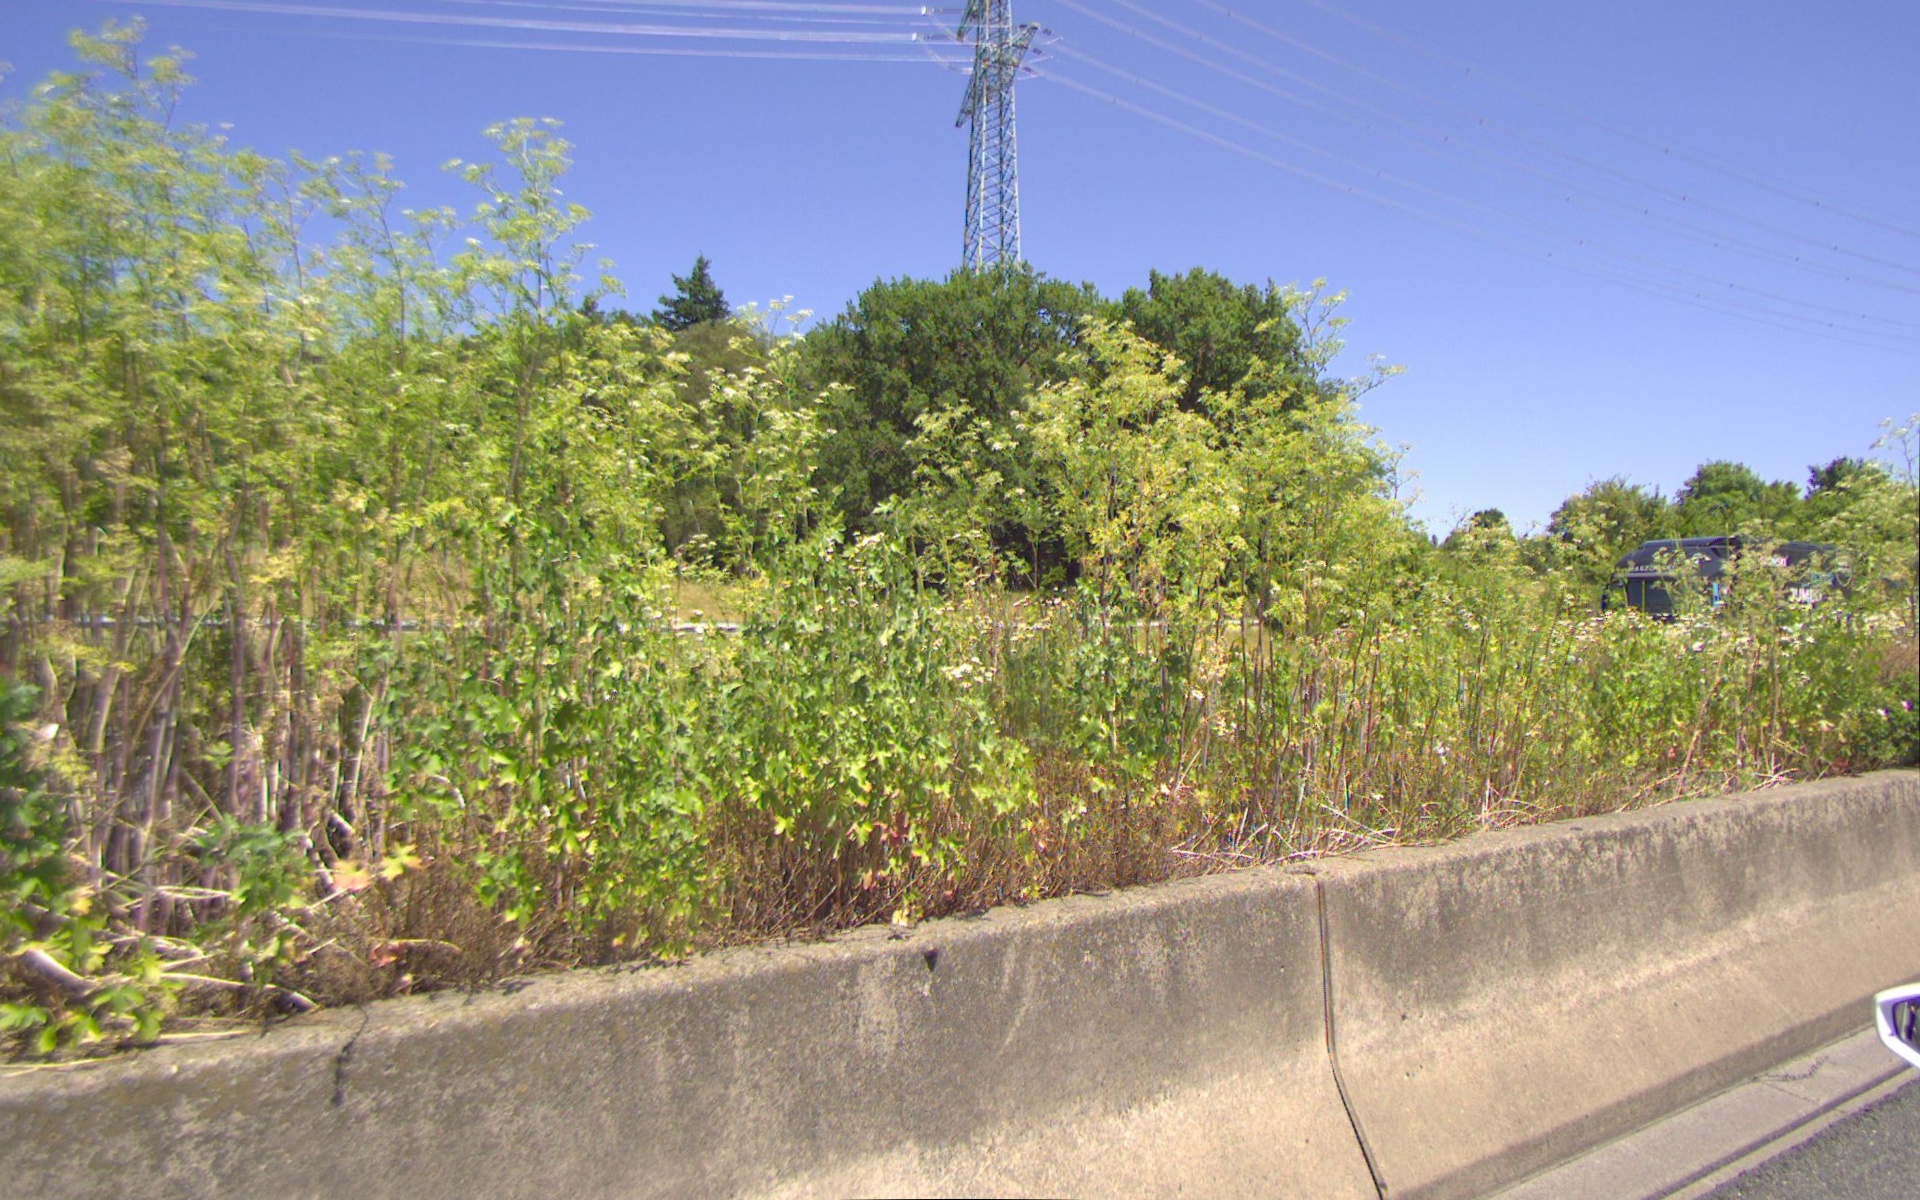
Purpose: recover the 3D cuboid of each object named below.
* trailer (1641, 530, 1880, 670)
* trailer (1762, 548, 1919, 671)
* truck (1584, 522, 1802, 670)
[{"bbox_3d":[24.408,0.105,30.519,7.777,3.809,3.110,2,-1,-30],"label":"trailer"},{"bbox_3d":[31.313,0.400,34.517,8.104,3.811,3.168,1,-1,-30],"label":"trailer"},{"bbox_3d":[20.628,-0.028,28.258,5.399,3.759,3.057,1,-1,-30],"label":"truck"}]
